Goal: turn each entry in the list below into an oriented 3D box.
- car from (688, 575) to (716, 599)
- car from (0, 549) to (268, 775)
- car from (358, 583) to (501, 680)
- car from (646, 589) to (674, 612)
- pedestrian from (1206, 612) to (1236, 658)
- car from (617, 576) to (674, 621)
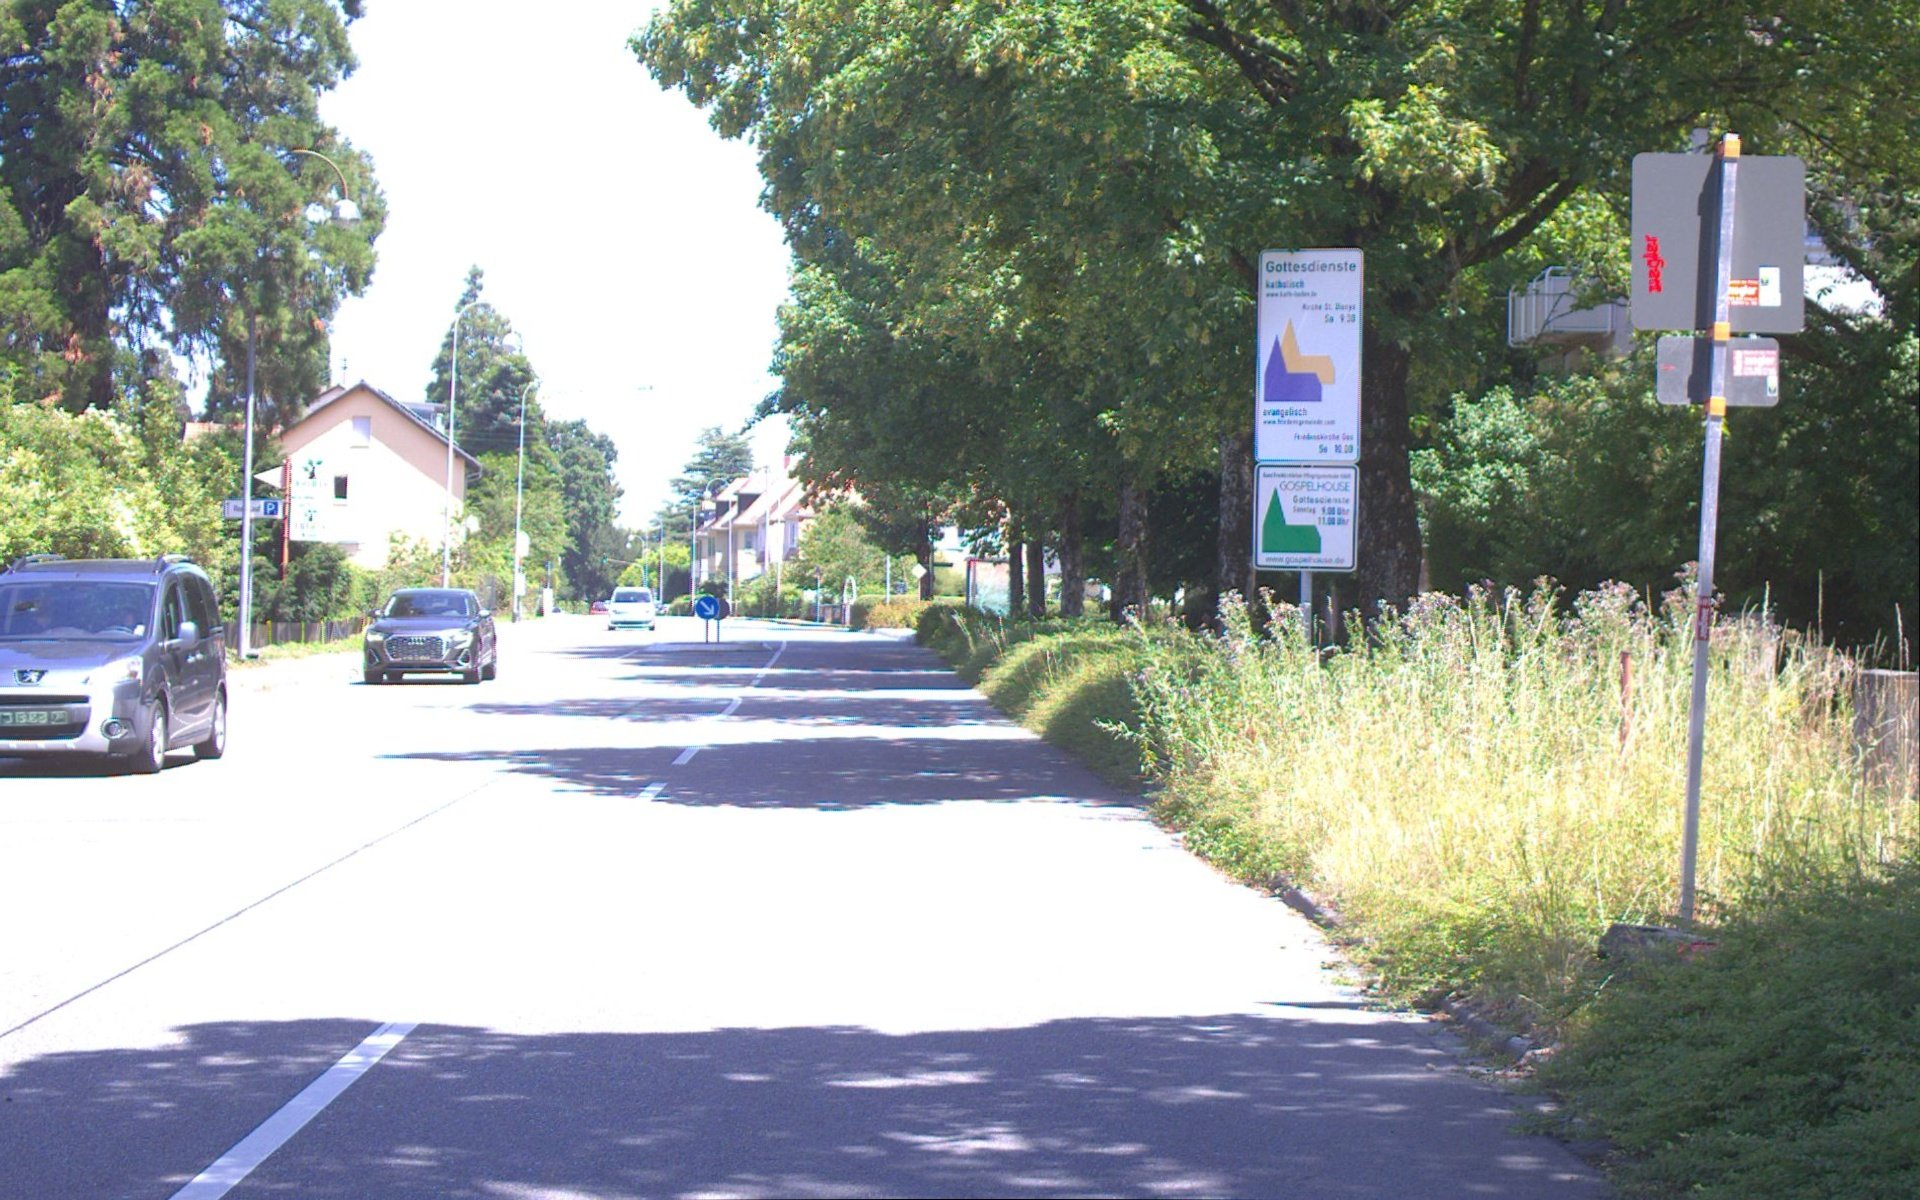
[{"bbox_3d":[-19.270,-0.962,256.754,1.815,1.712,4.000,1,0,-1],"label":"car"},{"bbox_3d":[-7.216,0.504,29.012,1.811,1.756,4.570,0,-1,0],"label":"car"},{"bbox_3d":[-8.716,0.499,56.778,1.793,1.531,4.315,1,0,-2],"label":"car"},{"bbox_3d":[-22.396,0.023,256.559,1.815,1.712,4.000,1,0,-1],"label":"car"},{"bbox_3d":[6.661,0.893,87.726,0.704,1.156,0.754,1,0,2],"label":"pedestrian"},{"bbox_3d":[-11.875,-0.066,130.026,1.912,1.683,4.125,0,0,-2],"label":"car"}]
